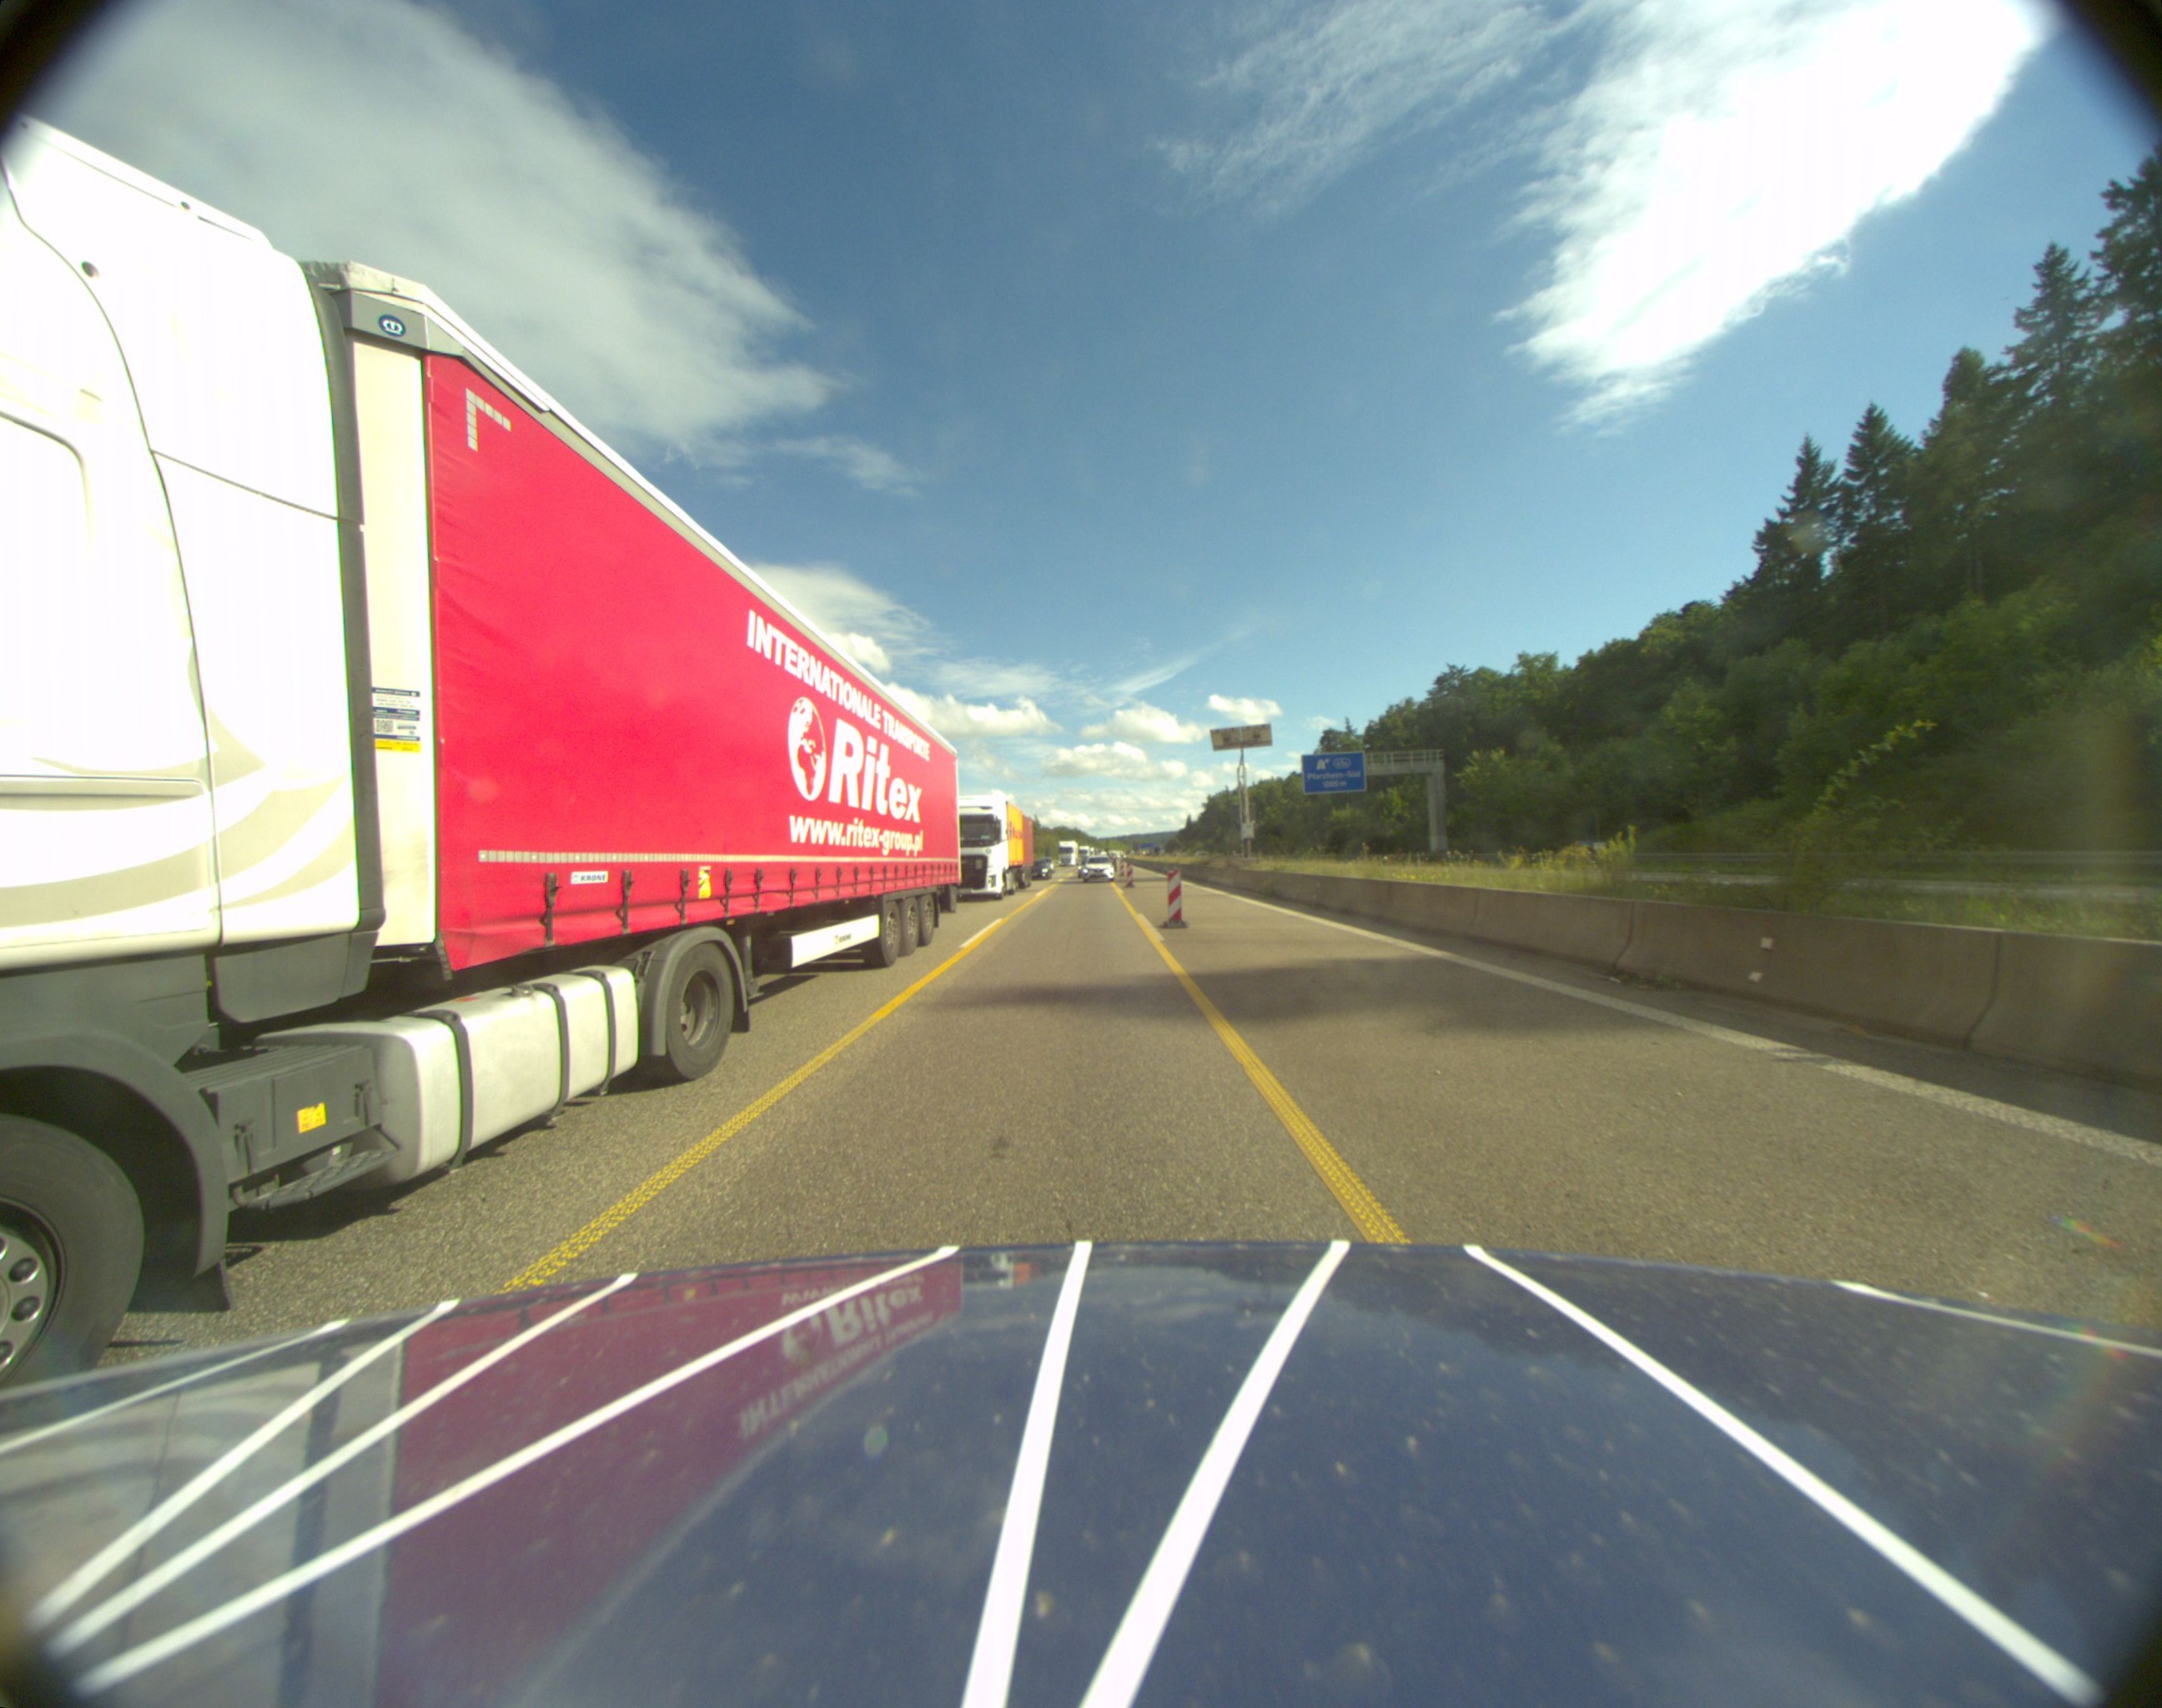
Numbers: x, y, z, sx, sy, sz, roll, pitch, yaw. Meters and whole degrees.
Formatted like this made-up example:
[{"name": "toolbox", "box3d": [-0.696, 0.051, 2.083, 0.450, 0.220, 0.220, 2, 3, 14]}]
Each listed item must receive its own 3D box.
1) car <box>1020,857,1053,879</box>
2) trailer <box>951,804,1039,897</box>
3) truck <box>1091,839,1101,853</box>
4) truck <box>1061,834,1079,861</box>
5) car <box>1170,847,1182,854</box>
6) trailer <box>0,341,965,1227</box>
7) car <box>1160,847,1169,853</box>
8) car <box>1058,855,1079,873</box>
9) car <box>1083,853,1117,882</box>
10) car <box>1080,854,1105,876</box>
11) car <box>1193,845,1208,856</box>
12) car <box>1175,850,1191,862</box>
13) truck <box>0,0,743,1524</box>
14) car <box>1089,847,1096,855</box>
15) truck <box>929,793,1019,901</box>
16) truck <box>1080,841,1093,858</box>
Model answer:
[{"name": "car", "box3d": [-3.054, 0.934, 53.032, 1.933, 1.342, 4.477, -2, 0, 1]}, {"name": "trailer", "box3d": [-3.857, -0.170, 37.226, 2.477, 3.753, 12.136, -2, 0, 2]}, {"name": "truck", "box3d": [4.488, -2.364, 229.776, 2.641, 4.092, 8.194, -3, 0, -2]}, {"name": "truck", "box3d": [-1.776, -1.048, 124.028, 2.641, 4.092, 8.194, -2, 0, 0]}, {"name": "car", "box3d": [18.676, -0.711, 149.421, 1.665, 1.379, 3.911, -2, 1, 0]}, {"name": "trailer", "box3d": [-4.019, -0.321, 10.165, 2.706, 3.945, 13.416, -2, 0, 0]}, {"name": "car", "box3d": [22.787, -1.000, 206.720, 1.944, 1.455, 3.911, -2, 1, 0]}, {"name": "car", "box3d": [-1.097, 0.879, 69.016, 1.762, 1.471, 3.967, -1, 1, 1]}, {"name": "car", "box3d": [1.089, 0.745, 45.085, 1.840, 1.528, 3.882, -2, 1, -1]}, {"name": "car", "box3d": [0.846, 0.787, 55.107, 1.692, 1.471, 3.754, -1, 1, 1]}, {"name": "car", "box3d": [17.569, -0.551, 111.888, 1.665, 1.572, 3.911, -2, 1, 0]}, {"name": "car", "box3d": [13.311, 0.245, 99.521, 1.664, 1.379, 3.912, -2, 1, 2]}, {"name": "truck", "box3d": [-4.053, -0.281, 3.054, 2.674, 3.936, 5.710, -2, 0, 0]}, {"name": "car", "box3d": [3.323, -0.869, 228.776, 1.998, 2.188, 4.000, -2, 1, 1]}, {"name": "truck", "box3d": [-4.040, -0.270, 29.947, 2.501, 3.759, 5.789, -2, 1, 1]}, {"name": "truck", "box3d": [1.349, -1.157, 191.535, 2.640, 4.092, 8.197, -2, 0, 3]}]
